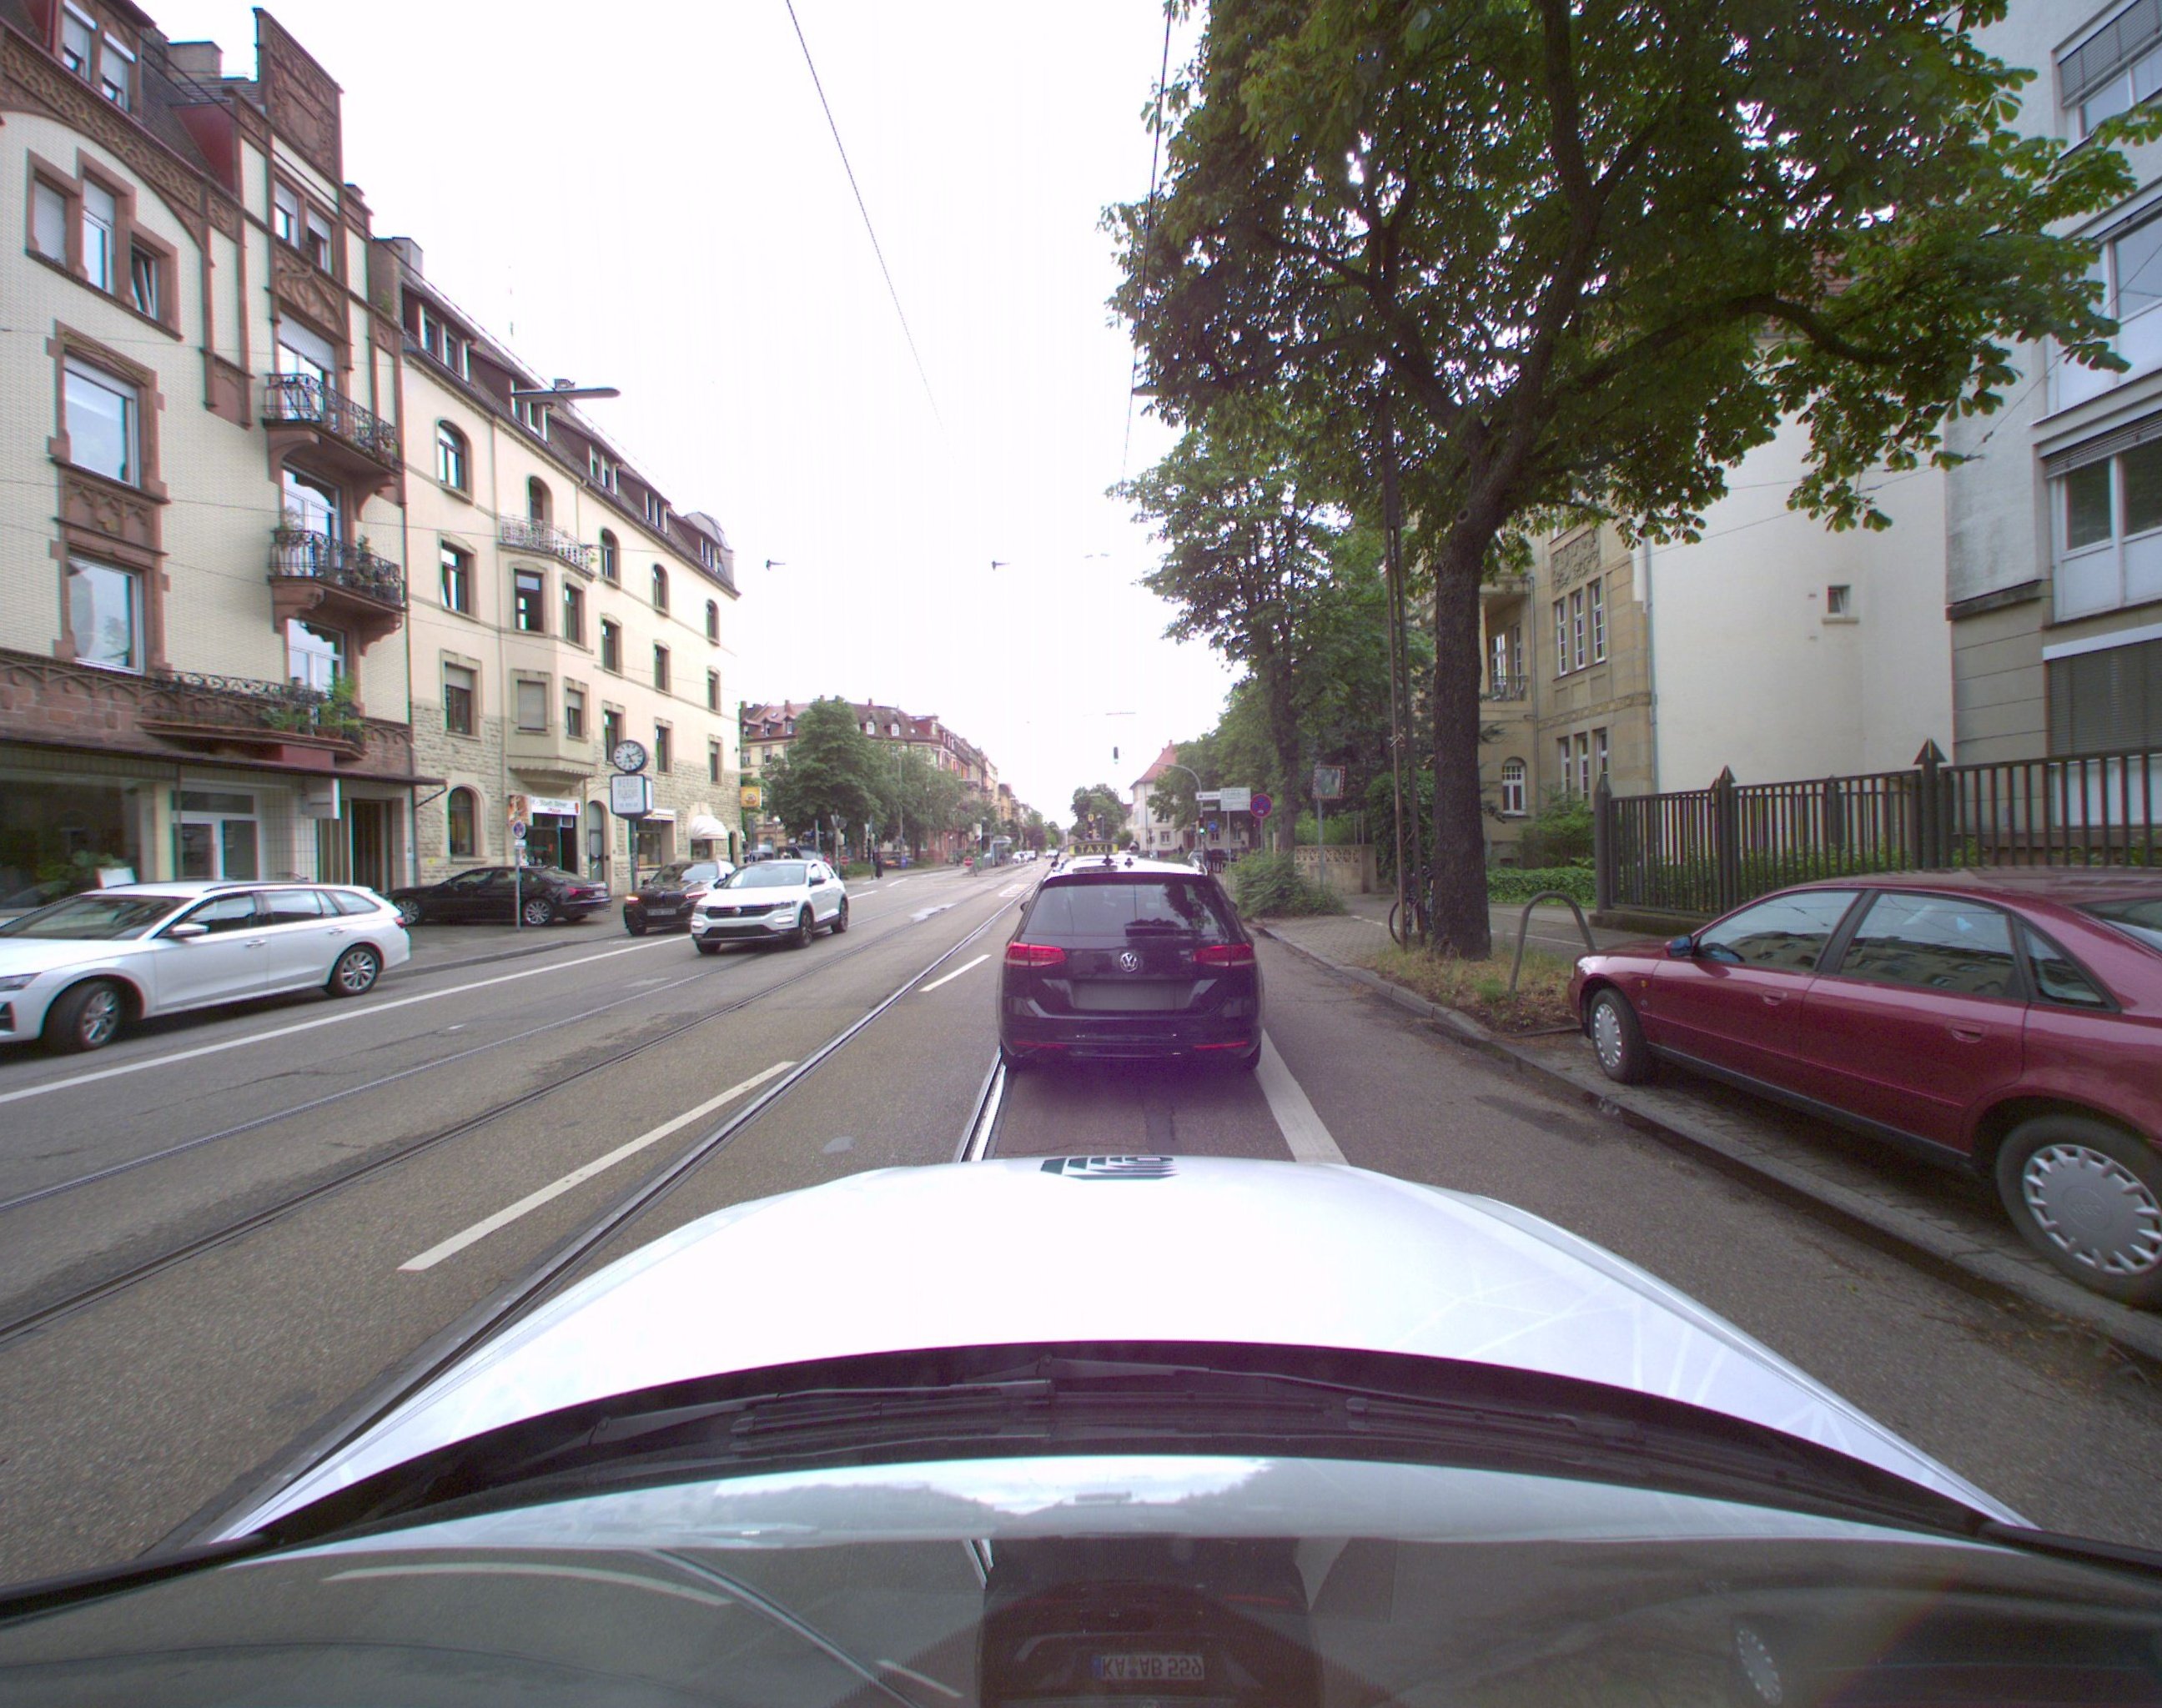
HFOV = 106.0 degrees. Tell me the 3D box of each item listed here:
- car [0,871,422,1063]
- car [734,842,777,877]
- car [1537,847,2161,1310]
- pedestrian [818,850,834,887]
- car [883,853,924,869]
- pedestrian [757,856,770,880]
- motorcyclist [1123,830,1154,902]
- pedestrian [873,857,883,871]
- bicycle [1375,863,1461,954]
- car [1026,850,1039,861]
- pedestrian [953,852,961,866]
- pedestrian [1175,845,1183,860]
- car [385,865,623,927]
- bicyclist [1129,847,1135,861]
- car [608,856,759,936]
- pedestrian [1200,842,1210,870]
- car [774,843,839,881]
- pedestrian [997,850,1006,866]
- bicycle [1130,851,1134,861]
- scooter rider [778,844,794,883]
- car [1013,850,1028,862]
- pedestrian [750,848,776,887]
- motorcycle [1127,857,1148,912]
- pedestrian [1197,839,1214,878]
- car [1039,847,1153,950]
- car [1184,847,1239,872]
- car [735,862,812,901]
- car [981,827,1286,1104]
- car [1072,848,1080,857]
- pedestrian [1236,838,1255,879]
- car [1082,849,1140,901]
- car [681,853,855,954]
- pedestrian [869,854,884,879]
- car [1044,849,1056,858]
[{"bbox_3d":[-9.913,1.016,8.844,1.742,1.484,4.607,-2,0,-1],"label":"car"},{"bbox_3d":[-25.436,0.448,63.475,2.194,2.527,5.326,-2,0,-32],"label":"car"},{"bbox_3d":[4.246,0.715,4.004,1.597,1.399,4.227,-3,0,0],"label":"car"},{"bbox_3d":[-12.970,0.723,41.419,0.621,1.842,0.609,-2,0,-3],"label":"pedestrian"},{"bbox_3d":[-19.971,0.785,91.645,4.021,1.596,1.977,-2,0,-40],"label":"car"},{"bbox_3d":[-23.044,1.026,59.087,0.703,1.715,0.546,-2,0,-40],"label":"pedestrian"},{"bbox_3d":[1.393,0.283,19.804,0.700,1.692,0.805,-2,0,3],"label":"motorcyclist"},{"bbox_3d":[-17.701,0.883,70.962,0.591,1.168,0.837,-2,0,-29],"label":"pedestrian"},{"bbox_3d":[4.866,0.736,11.697,1.915,1.198,0.428,0,-1,-45],"label":"bicycle"},{"bbox_3d":[-7.312,0.204,122.530,1.716,1.464,3.862,-2,0,0],"label":"car"},{"bbox_3d":[-14.043,0.601,92.209,0.582,1.520,0.653,-2,0,35],"label":"pedestrian"},{"bbox_3d":[9.841,-0.167,81.754,0.612,1.553,0.576,-1,0,-39],"label":"pedestrian"},{"bbox_3d":[-14.182,1.016,20.247,4.418,1.370,1.877,1,0,-5],"label":"car"},{"bbox_3d":[6.099,-0.009,96.726,0.648,1.568,0.697,-2,0,7],"label":"bicyclist"},{"bbox_3d":[-9.694,0.923,20.345,1.882,1.611,4.873,-4,0,-9],"label":"car"},{"bbox_3d":[8.384,0.138,55.078,0.511,1.831,0.419,-5,0,10],"label":"pedestrian"},{"bbox_3d":[-18.789,0.567,55.628,2.198,2.417,5.315,-2,0,-42],"label":"car"},{"bbox_3d":[-7.651,0.398,78.310,0.711,1.520,0.590,-2,0,1],"label":"pedestrian"},{"bbox_3d":[6.062,0.259,96.717,0.295,1.223,1.433,-2,0,7],"label":"bicycle"},{"bbox_3d":[-15.506,0.501,42.811,0.645,2.013,0.751,-2,0,-28],"label":"scooter rider"},{"bbox_3d":[-8.070,0.245,108.894,1.716,1.622,3.862,-2,0,0],"label":"car"},{"bbox_3d":[-16.611,0.689,42.527,0.971,2.013,0.835,-2,0,-1],"label":"pedestrian"},{"bbox_3d":[1.357,0.702,19.789,0.444,1.235,1.908,-2,0,3],"label":"motorcycle"},{"bbox_3d":[6.066,0.203,39.660,0.583,1.831,0.604,-5,0,1],"label":"pedestrian"},{"bbox_3d":[0.244,0.664,14.480,1.718,1.546,4.000,-1,0,0],"label":"car"},{"bbox_3d":[8.001,0.326,49.801,1.873,1.408,4.026,-2,0,31],"label":"car"},{"bbox_3d":[-12.274,1.061,32.792,1.644,1.361,4.126,1,0,-2],"label":"car"},{"bbox_3d":[0.308,0.626,6.656,1.718,1.546,4.000,-1,0,0],"label":"car"},{"bbox_3d":[-1.182,-0.354,192.883,2.026,2.014,3.999,-1,0,0],"label":"car"},{"bbox_3d":[7.476,0.187,37.077,0.630,1.815,0.725,-2,0,-3],"label":"pedestrian"},{"bbox_3d":[0.908,0.631,26.584,1.718,1.546,4.000,-1,0,0],"label":"car"},{"bbox_3d":[-5.485,0.779,14.842,1.694,1.496,3.928,-3,0,-2],"label":"car"},{"bbox_3d":[-13.692,0.848,54.582,0.833,1.663,0.591,-2,0,1],"label":"pedestrian"},{"bbox_3d":[-6.013,-0.134,158.132,1.788,1.596,4.003,-2,0,3],"label":"car"}]
